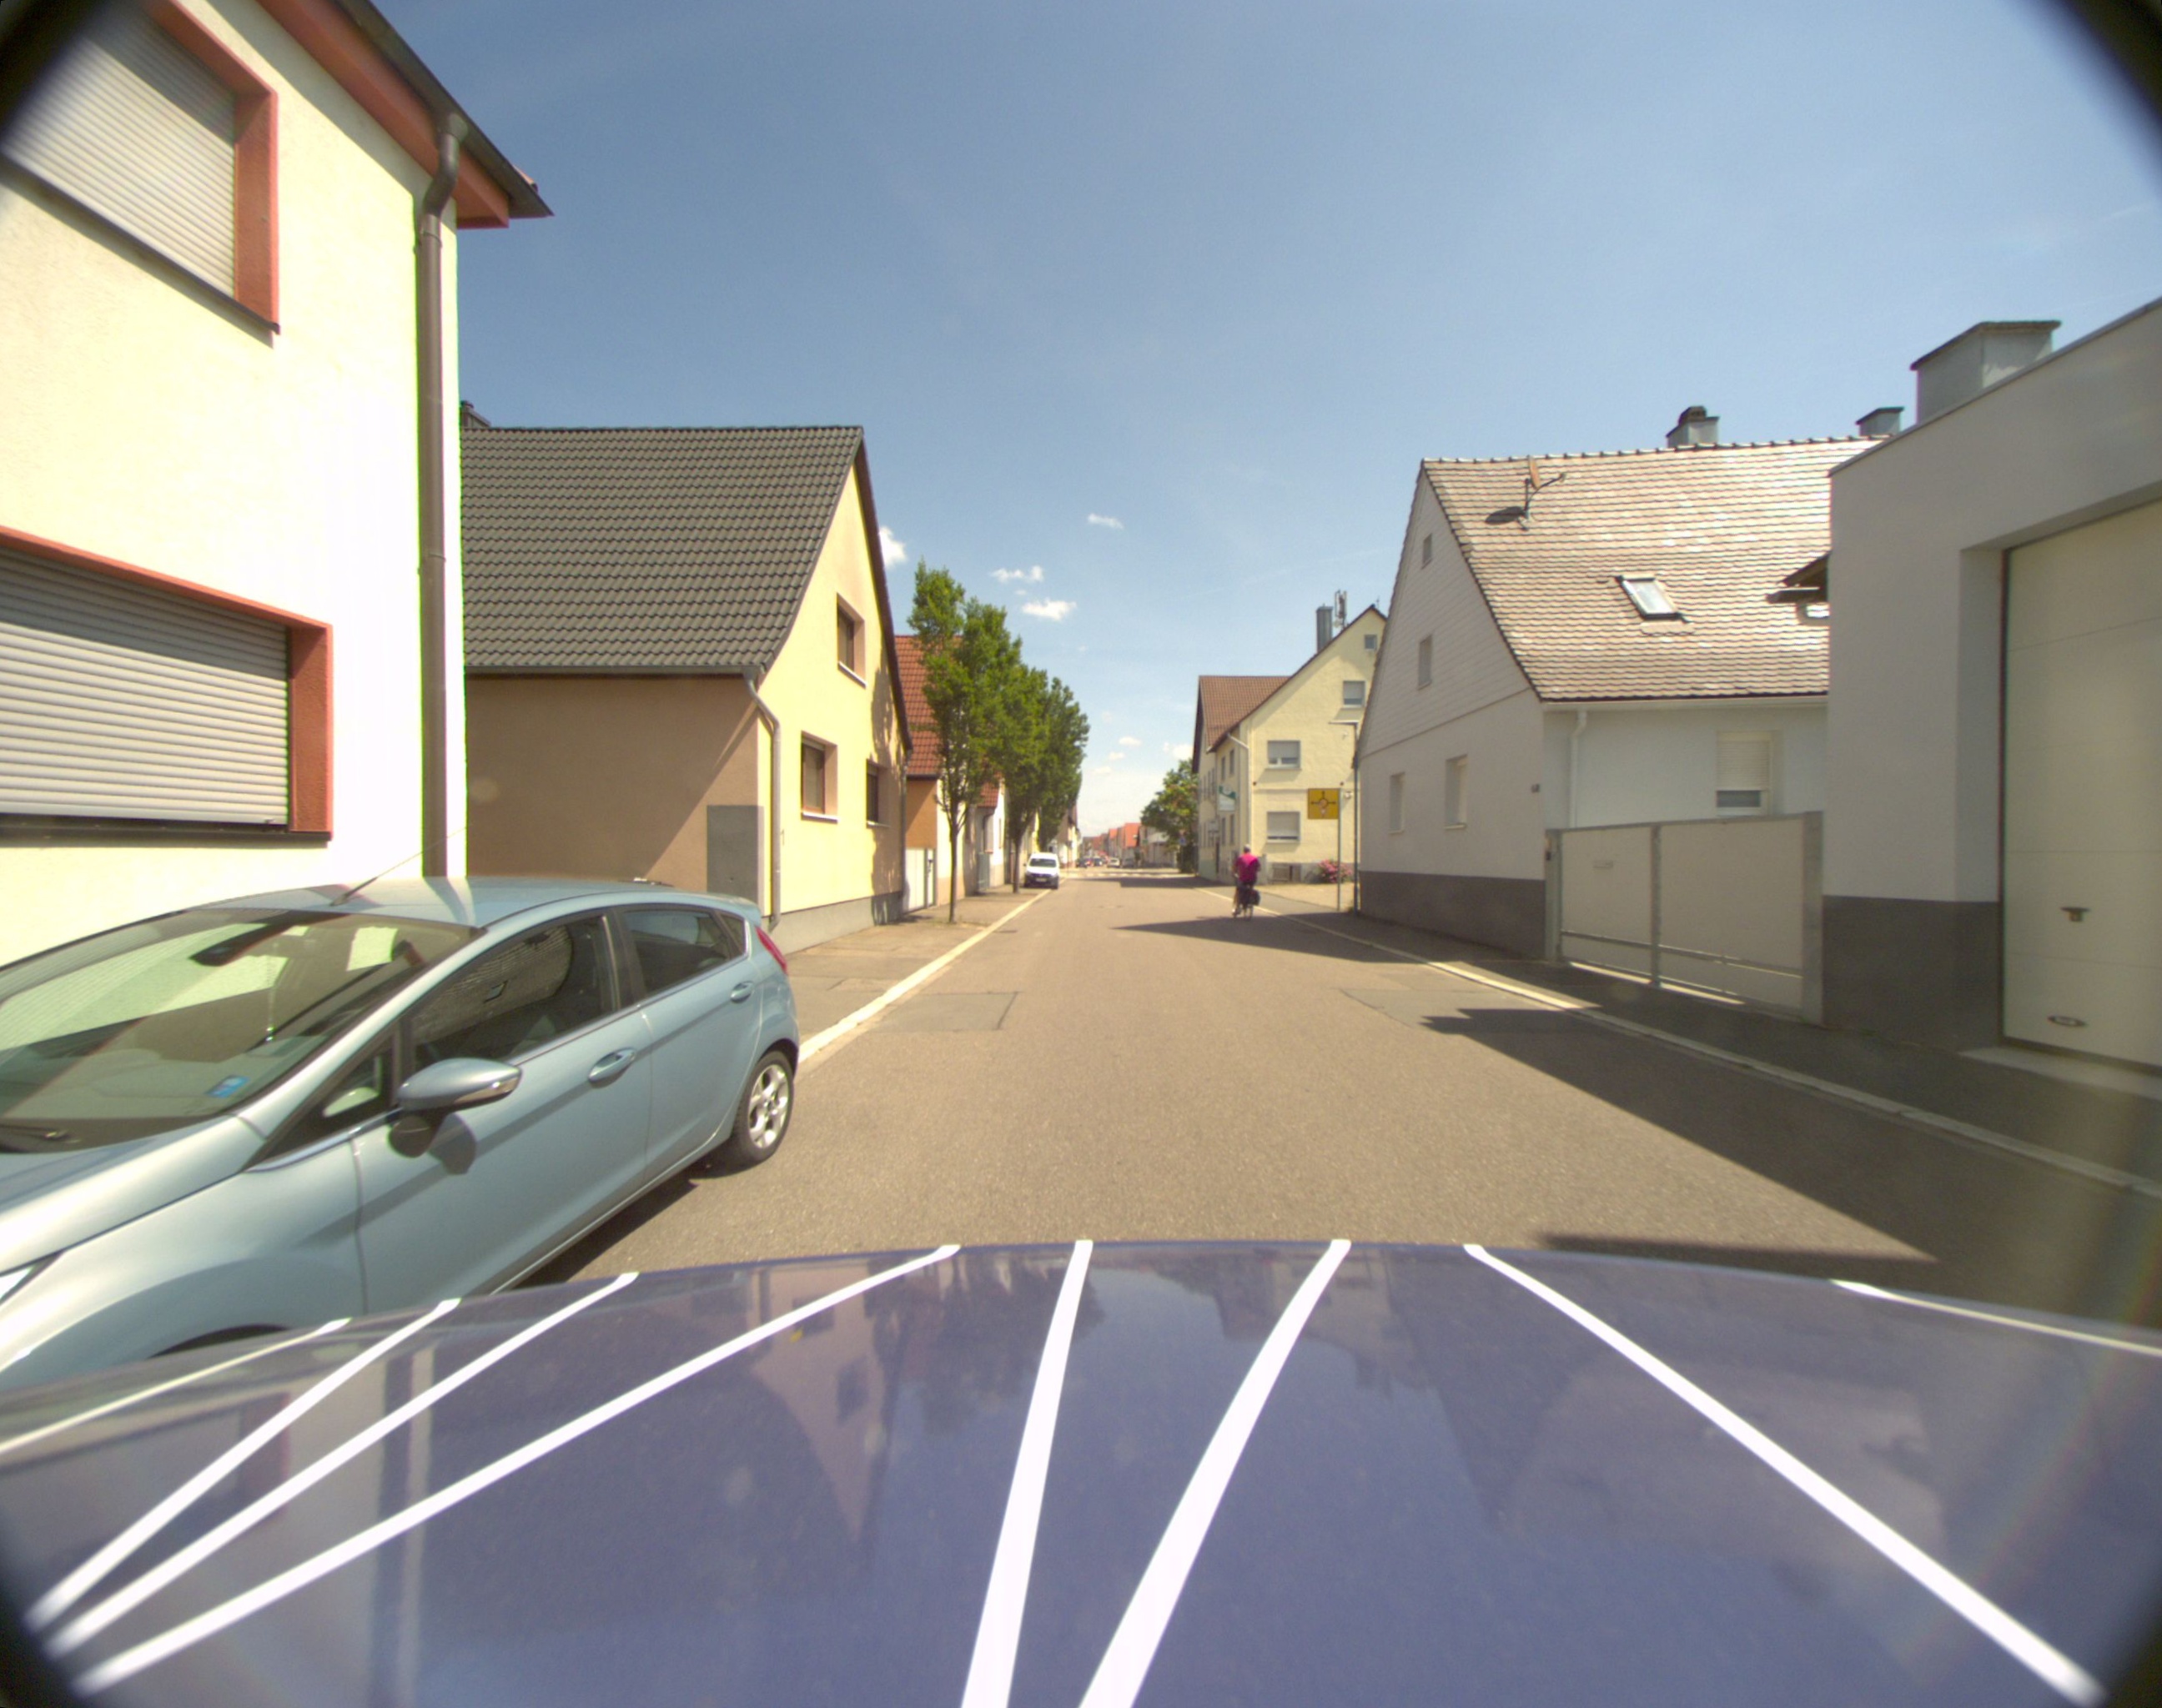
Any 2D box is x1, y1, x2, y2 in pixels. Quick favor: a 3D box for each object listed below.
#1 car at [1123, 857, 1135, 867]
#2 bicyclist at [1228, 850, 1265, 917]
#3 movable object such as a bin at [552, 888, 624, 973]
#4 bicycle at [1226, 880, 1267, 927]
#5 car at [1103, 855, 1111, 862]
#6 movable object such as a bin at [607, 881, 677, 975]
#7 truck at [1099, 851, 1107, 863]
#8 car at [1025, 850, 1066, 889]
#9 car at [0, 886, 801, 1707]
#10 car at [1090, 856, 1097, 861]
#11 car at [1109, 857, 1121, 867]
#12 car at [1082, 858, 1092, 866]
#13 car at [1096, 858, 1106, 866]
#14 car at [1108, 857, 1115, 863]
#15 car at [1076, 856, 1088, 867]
[{"bbox_3d":[7.430,1.230,117.643,1.726,1.385,4.171,0,-2,3],"label":"car"},{"bbox_3d":[4.109,0.710,18.946,0.748,1.627,0.957,1,1,5],"label":"bicyclist"},{"bbox_3d":[-6.404,0.977,9.894,0.493,1.023,0.671,1,1,-1],"label":"movable object such as a bin"},{"bbox_3d":[4.117,1.204,19.021,0.744,1.041,1.941,1,0,5],"label":"bicycle"},{"bbox_3d":[7.078,1.226,207.328,1.727,2.097,4.168,-1,0,-1],"label":"car"},{"bbox_3d":[-5.694,0.938,9.885,0.493,1.143,0.698,1,1,-1],"label":"movable object such as a bin"},{"bbox_3d":[6.327,0.932,221.241,1.999,3.420,7.074,-1,1,-1],"label":"truck"},{"bbox_3d":[-1.771,0.751,39.259,1.692,1.831,4.764,3,0,2],"label":"car"},{"bbox_3d":[-2.605,0.967,2.377,1.725,1.473,3.751,3,0,5],"label":"car"},{"bbox_3d":[3.321,1.246,200.806,1.598,1.385,4.168,0,0,0],"label":"car"},{"bbox_3d":[5.055,1.215,112.680,1.598,1.385,4.168,-1,0,1],"label":"car"},{"bbox_3d":[1.117,1.418,136.542,1.598,1.385,4.170,0,-2,2],"label":"car"},{"bbox_3d":[3.422,1.367,131.281,1.598,1.385,4.168,-1,0,1],"label":"car"},{"bbox_3d":[7.610,1.463,188.617,1.726,1.385,4.171,0,-2,3],"label":"car"},{"bbox_3d":[0.167,1.120,107.444,1.598,1.385,4.170,0,-2,2],"label":"car"}]
